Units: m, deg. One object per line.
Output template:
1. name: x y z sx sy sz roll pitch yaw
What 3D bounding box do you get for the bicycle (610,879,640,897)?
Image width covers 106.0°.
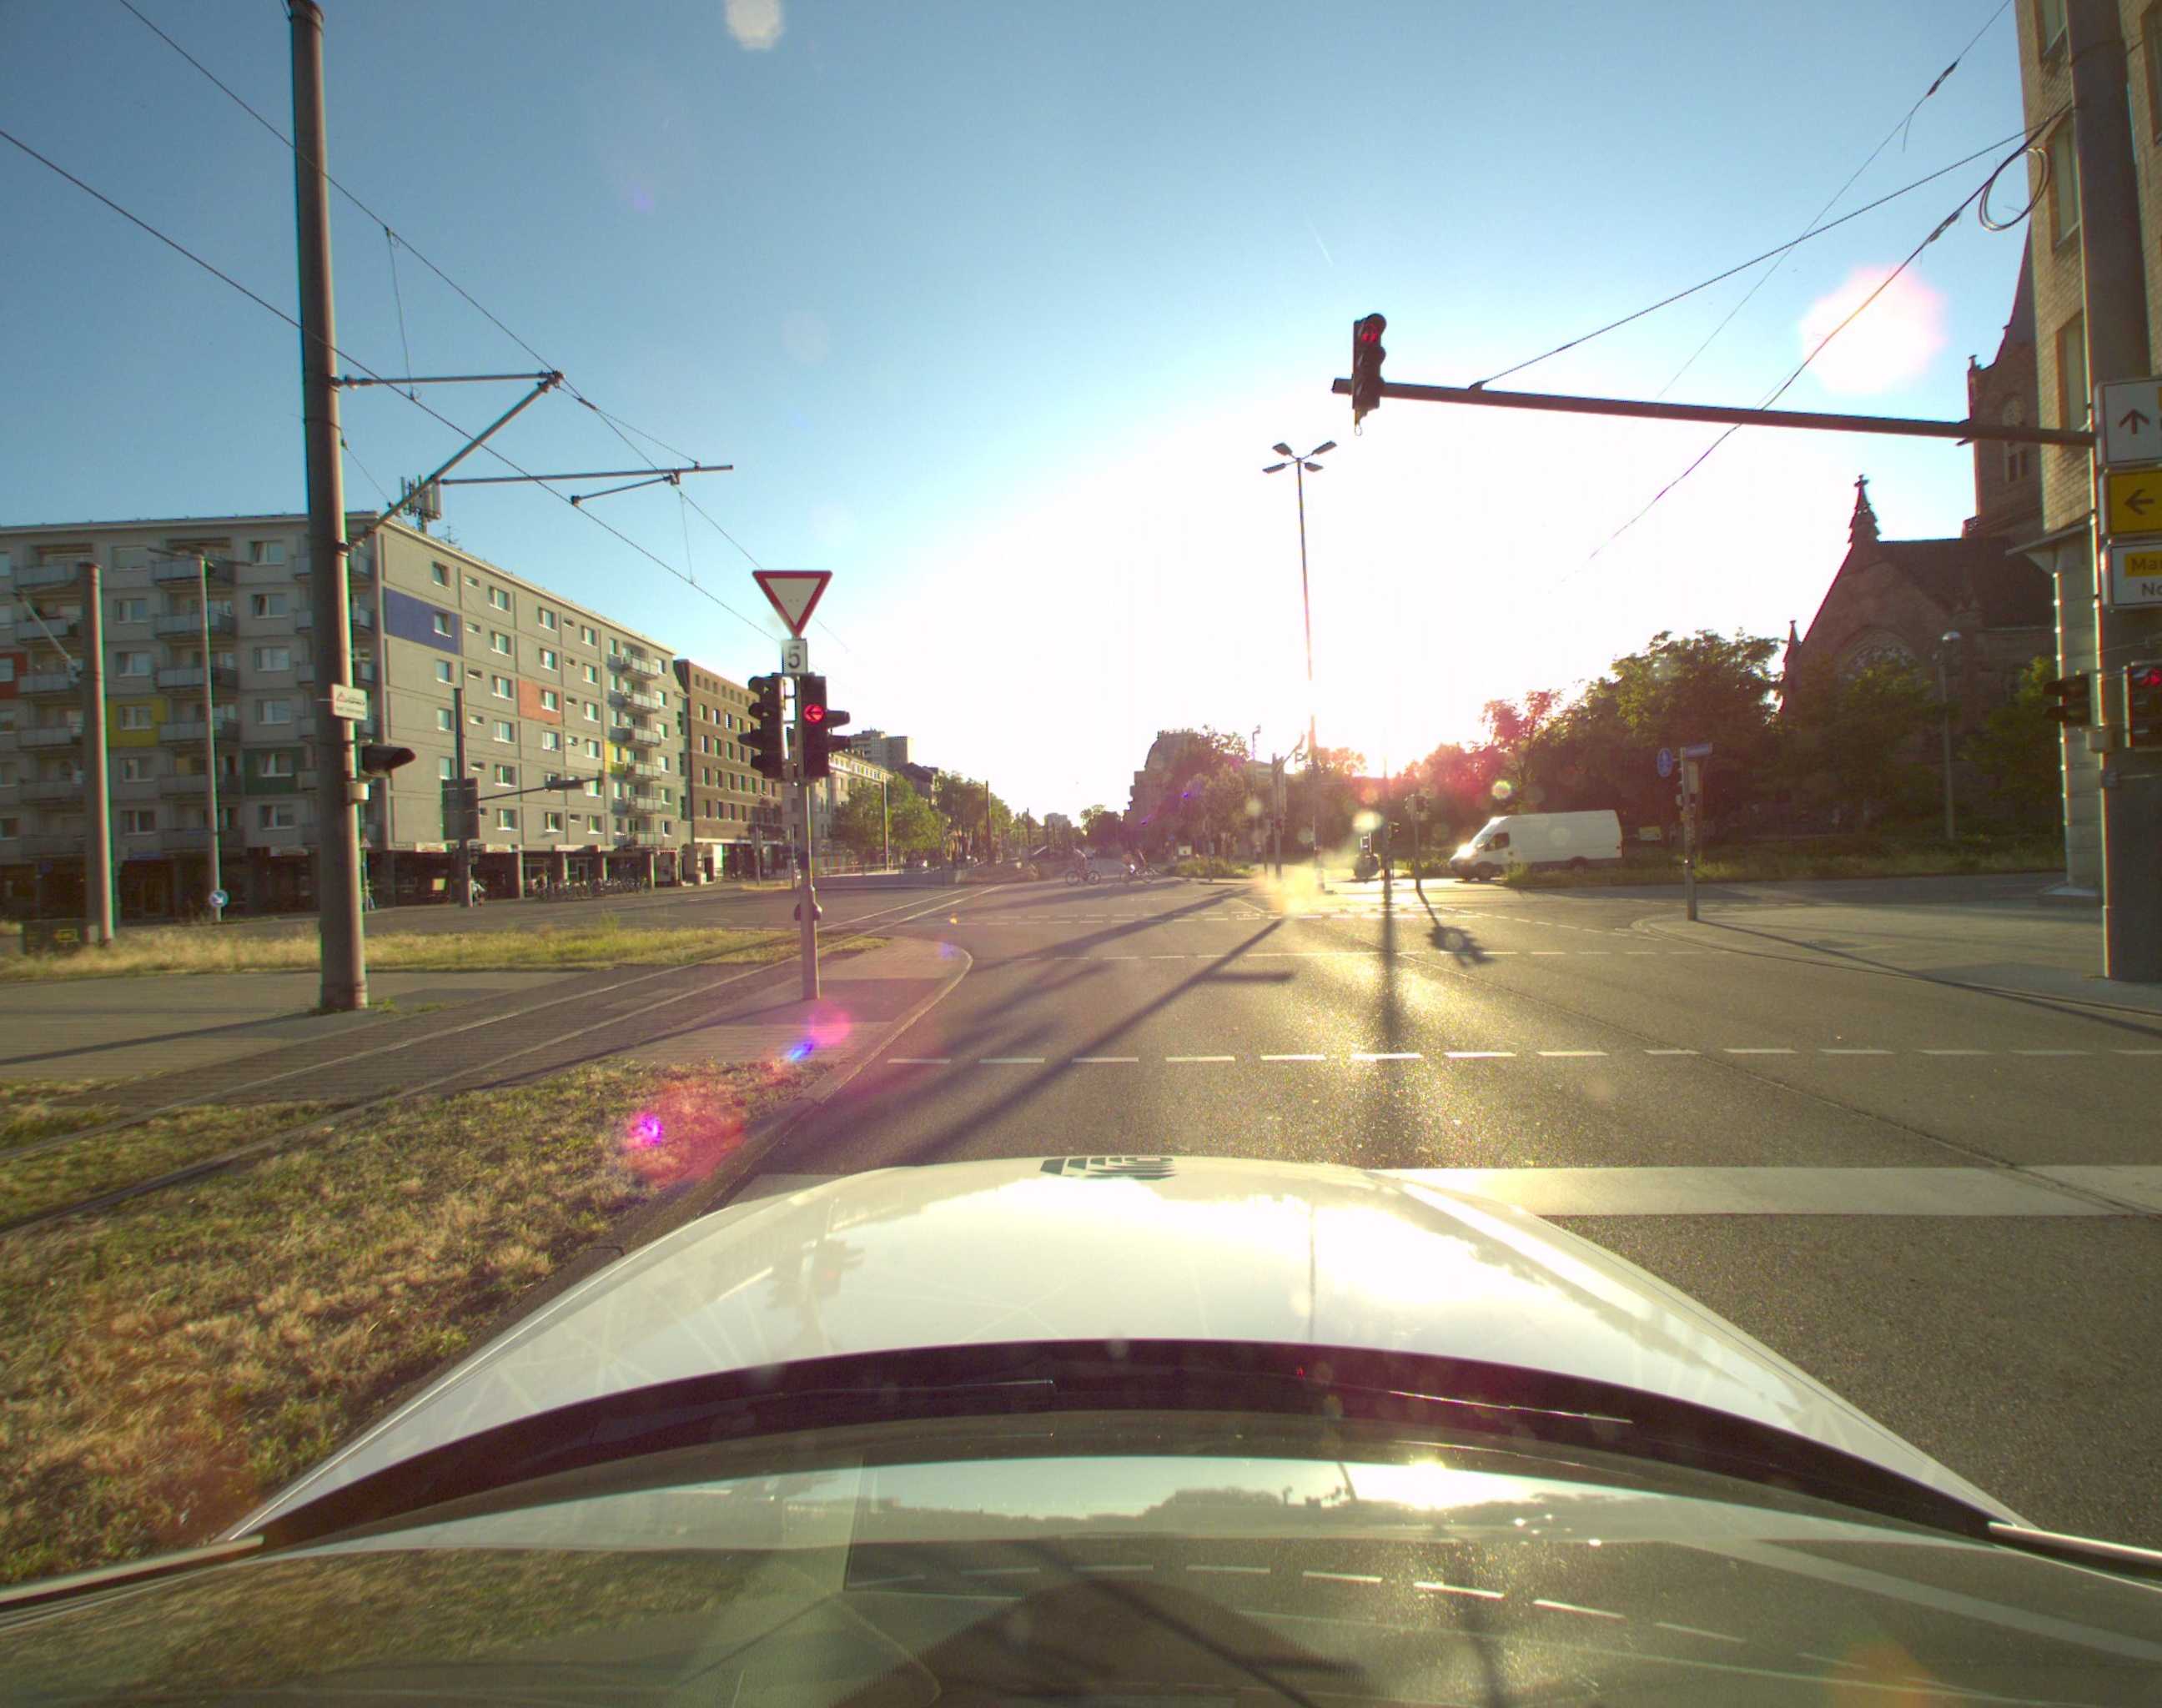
1. bicycle: -31.113 2.331 55.560 1.754 1.119 0.568 -2 0 2

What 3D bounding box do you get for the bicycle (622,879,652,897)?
1. bicycle: -30.986 2.388 56.884 1.683 1.153 0.706 -2 0 3

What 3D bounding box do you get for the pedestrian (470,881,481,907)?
1. pedestrian: -32.857 2.191 44.207 0.383 1.383 0.392 -2 0 -26

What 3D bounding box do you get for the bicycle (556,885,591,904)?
1. bicycle: -31.457 2.507 50.481 1.750 1.139 0.600 -2 0 2

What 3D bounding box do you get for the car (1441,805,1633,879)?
1. car: 19.584 -0.506 35.204 6.981 2.827 2.095 -2 0 3

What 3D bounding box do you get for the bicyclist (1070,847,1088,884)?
1. bicyclist: -0.081 0.569 40.215 0.791 1.818 0.645 -2 0 -4

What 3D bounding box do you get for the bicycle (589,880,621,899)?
1. bicycle: -31.803 2.361 54.404 1.764 1.136 0.606 -2 0 2

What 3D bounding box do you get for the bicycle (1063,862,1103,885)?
1. bicycle: 0.077 0.959 40.229 1.897 1.075 0.631 -2 0 -4

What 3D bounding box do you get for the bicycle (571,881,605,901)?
1. bicycle: -31.243 2.336 51.649 1.762 1.182 0.568 -2 0 1

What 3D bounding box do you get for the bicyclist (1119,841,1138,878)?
1. bicyclist: 2.911 0.324 50.465 1.078 2.276 0.986 -2 0 1

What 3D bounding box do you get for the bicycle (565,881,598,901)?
1. bicycle: -31.307 2.317 51.054 1.759 1.167 0.540 -2 0 2

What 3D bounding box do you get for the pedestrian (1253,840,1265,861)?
1. pedestrian: 15.138 -0.287 69.324 0.826 1.803 0.814 -2 0 17

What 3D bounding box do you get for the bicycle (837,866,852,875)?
1. bicycle: -26.043 1.825 89.690 0.503 0.944 1.678 -2 0 26

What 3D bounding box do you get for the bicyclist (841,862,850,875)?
1. bicyclist: -25.975 1.631 89.834 0.494 1.426 0.862 -3 0 26

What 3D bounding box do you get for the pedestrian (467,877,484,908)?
1. pedestrian: -32.453 2.049 43.652 0.575 1.620 0.598 -2 0 -29

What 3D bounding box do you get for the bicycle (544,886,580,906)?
1. bicycle: -31.775 2.588 49.860 1.770 1.142 0.608 -2 0 1

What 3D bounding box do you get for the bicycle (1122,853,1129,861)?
1. bicycle: 6.428 0.376 118.687 0.921 1.111 2.334 -2 0 2

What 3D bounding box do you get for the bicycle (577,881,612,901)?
1. bicycle: -31.231 2.355 52.301 1.782 1.191 0.652 -2 0 1

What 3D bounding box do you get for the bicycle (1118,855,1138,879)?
1. bicycle: 2.914 0.770 50.577 1.094 1.399 2.833 -2 0 2

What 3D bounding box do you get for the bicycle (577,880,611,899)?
1. bicycle: -31.778 2.292 53.121 1.824 1.160 0.640 -2 0 1

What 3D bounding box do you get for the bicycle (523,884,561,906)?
1. bicycle: -32.286 2.460 48.801 1.788 1.208 0.638 -2 0 0

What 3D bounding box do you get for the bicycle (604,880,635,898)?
1. bicycle: -31.150 2.361 54.974 1.748 1.117 0.552 -2 0 2

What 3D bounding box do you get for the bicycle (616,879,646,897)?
1. bicycle: -31.071 2.343 56.193 1.719 1.124 0.634 -2 -1 3

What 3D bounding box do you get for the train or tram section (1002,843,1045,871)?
1. train or tram section: -8.736 0.367 125.391 4.363 3.849 11.433 -2 2 7

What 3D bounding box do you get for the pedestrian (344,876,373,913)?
1. pedestrian: -37.185 2.072 41.899 0.785 1.841 0.733 -2 0 -7

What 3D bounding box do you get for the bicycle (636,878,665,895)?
1. bicycle: -30.856 2.317 58.412 1.683 1.170 0.749 -2 0 3

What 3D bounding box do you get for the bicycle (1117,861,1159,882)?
1. bicycle: 3.007 0.922 42.894 2.159 1.083 0.538 -1 -1 -4

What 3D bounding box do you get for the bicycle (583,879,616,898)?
1. bicycle: -31.796 2.270 53.764 1.769 1.159 0.606 -2 0 1

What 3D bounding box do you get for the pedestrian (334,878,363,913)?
1. pedestrian: -38.102 2.146 42.368 0.826 1.813 0.718 -1 -1 -9

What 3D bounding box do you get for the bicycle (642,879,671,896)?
1. bicycle: -30.803 2.402 59.143 1.683 1.144 0.697 -2 0 3

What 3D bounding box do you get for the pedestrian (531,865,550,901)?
1. pedestrian: -34.341 1.831 51.713 0.599 2.178 0.792 -2 0 1

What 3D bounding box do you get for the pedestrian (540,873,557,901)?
1. pedestrian: -33.054 2.033 50.550 0.576 1.684 0.548 -2 0 7

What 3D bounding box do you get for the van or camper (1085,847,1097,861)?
1. van or camper: 2.028 -0.043 175.127 2.441 2.770 5.600 -2 0 0

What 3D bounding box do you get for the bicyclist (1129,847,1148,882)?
1. bicyclist: 3.006 0.537 42.892 0.874 1.818 0.537 -2 0 -4

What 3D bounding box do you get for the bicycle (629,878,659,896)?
1. bicycle: -30.924 2.357 57.638 1.683 1.179 0.749 -2 0 3
